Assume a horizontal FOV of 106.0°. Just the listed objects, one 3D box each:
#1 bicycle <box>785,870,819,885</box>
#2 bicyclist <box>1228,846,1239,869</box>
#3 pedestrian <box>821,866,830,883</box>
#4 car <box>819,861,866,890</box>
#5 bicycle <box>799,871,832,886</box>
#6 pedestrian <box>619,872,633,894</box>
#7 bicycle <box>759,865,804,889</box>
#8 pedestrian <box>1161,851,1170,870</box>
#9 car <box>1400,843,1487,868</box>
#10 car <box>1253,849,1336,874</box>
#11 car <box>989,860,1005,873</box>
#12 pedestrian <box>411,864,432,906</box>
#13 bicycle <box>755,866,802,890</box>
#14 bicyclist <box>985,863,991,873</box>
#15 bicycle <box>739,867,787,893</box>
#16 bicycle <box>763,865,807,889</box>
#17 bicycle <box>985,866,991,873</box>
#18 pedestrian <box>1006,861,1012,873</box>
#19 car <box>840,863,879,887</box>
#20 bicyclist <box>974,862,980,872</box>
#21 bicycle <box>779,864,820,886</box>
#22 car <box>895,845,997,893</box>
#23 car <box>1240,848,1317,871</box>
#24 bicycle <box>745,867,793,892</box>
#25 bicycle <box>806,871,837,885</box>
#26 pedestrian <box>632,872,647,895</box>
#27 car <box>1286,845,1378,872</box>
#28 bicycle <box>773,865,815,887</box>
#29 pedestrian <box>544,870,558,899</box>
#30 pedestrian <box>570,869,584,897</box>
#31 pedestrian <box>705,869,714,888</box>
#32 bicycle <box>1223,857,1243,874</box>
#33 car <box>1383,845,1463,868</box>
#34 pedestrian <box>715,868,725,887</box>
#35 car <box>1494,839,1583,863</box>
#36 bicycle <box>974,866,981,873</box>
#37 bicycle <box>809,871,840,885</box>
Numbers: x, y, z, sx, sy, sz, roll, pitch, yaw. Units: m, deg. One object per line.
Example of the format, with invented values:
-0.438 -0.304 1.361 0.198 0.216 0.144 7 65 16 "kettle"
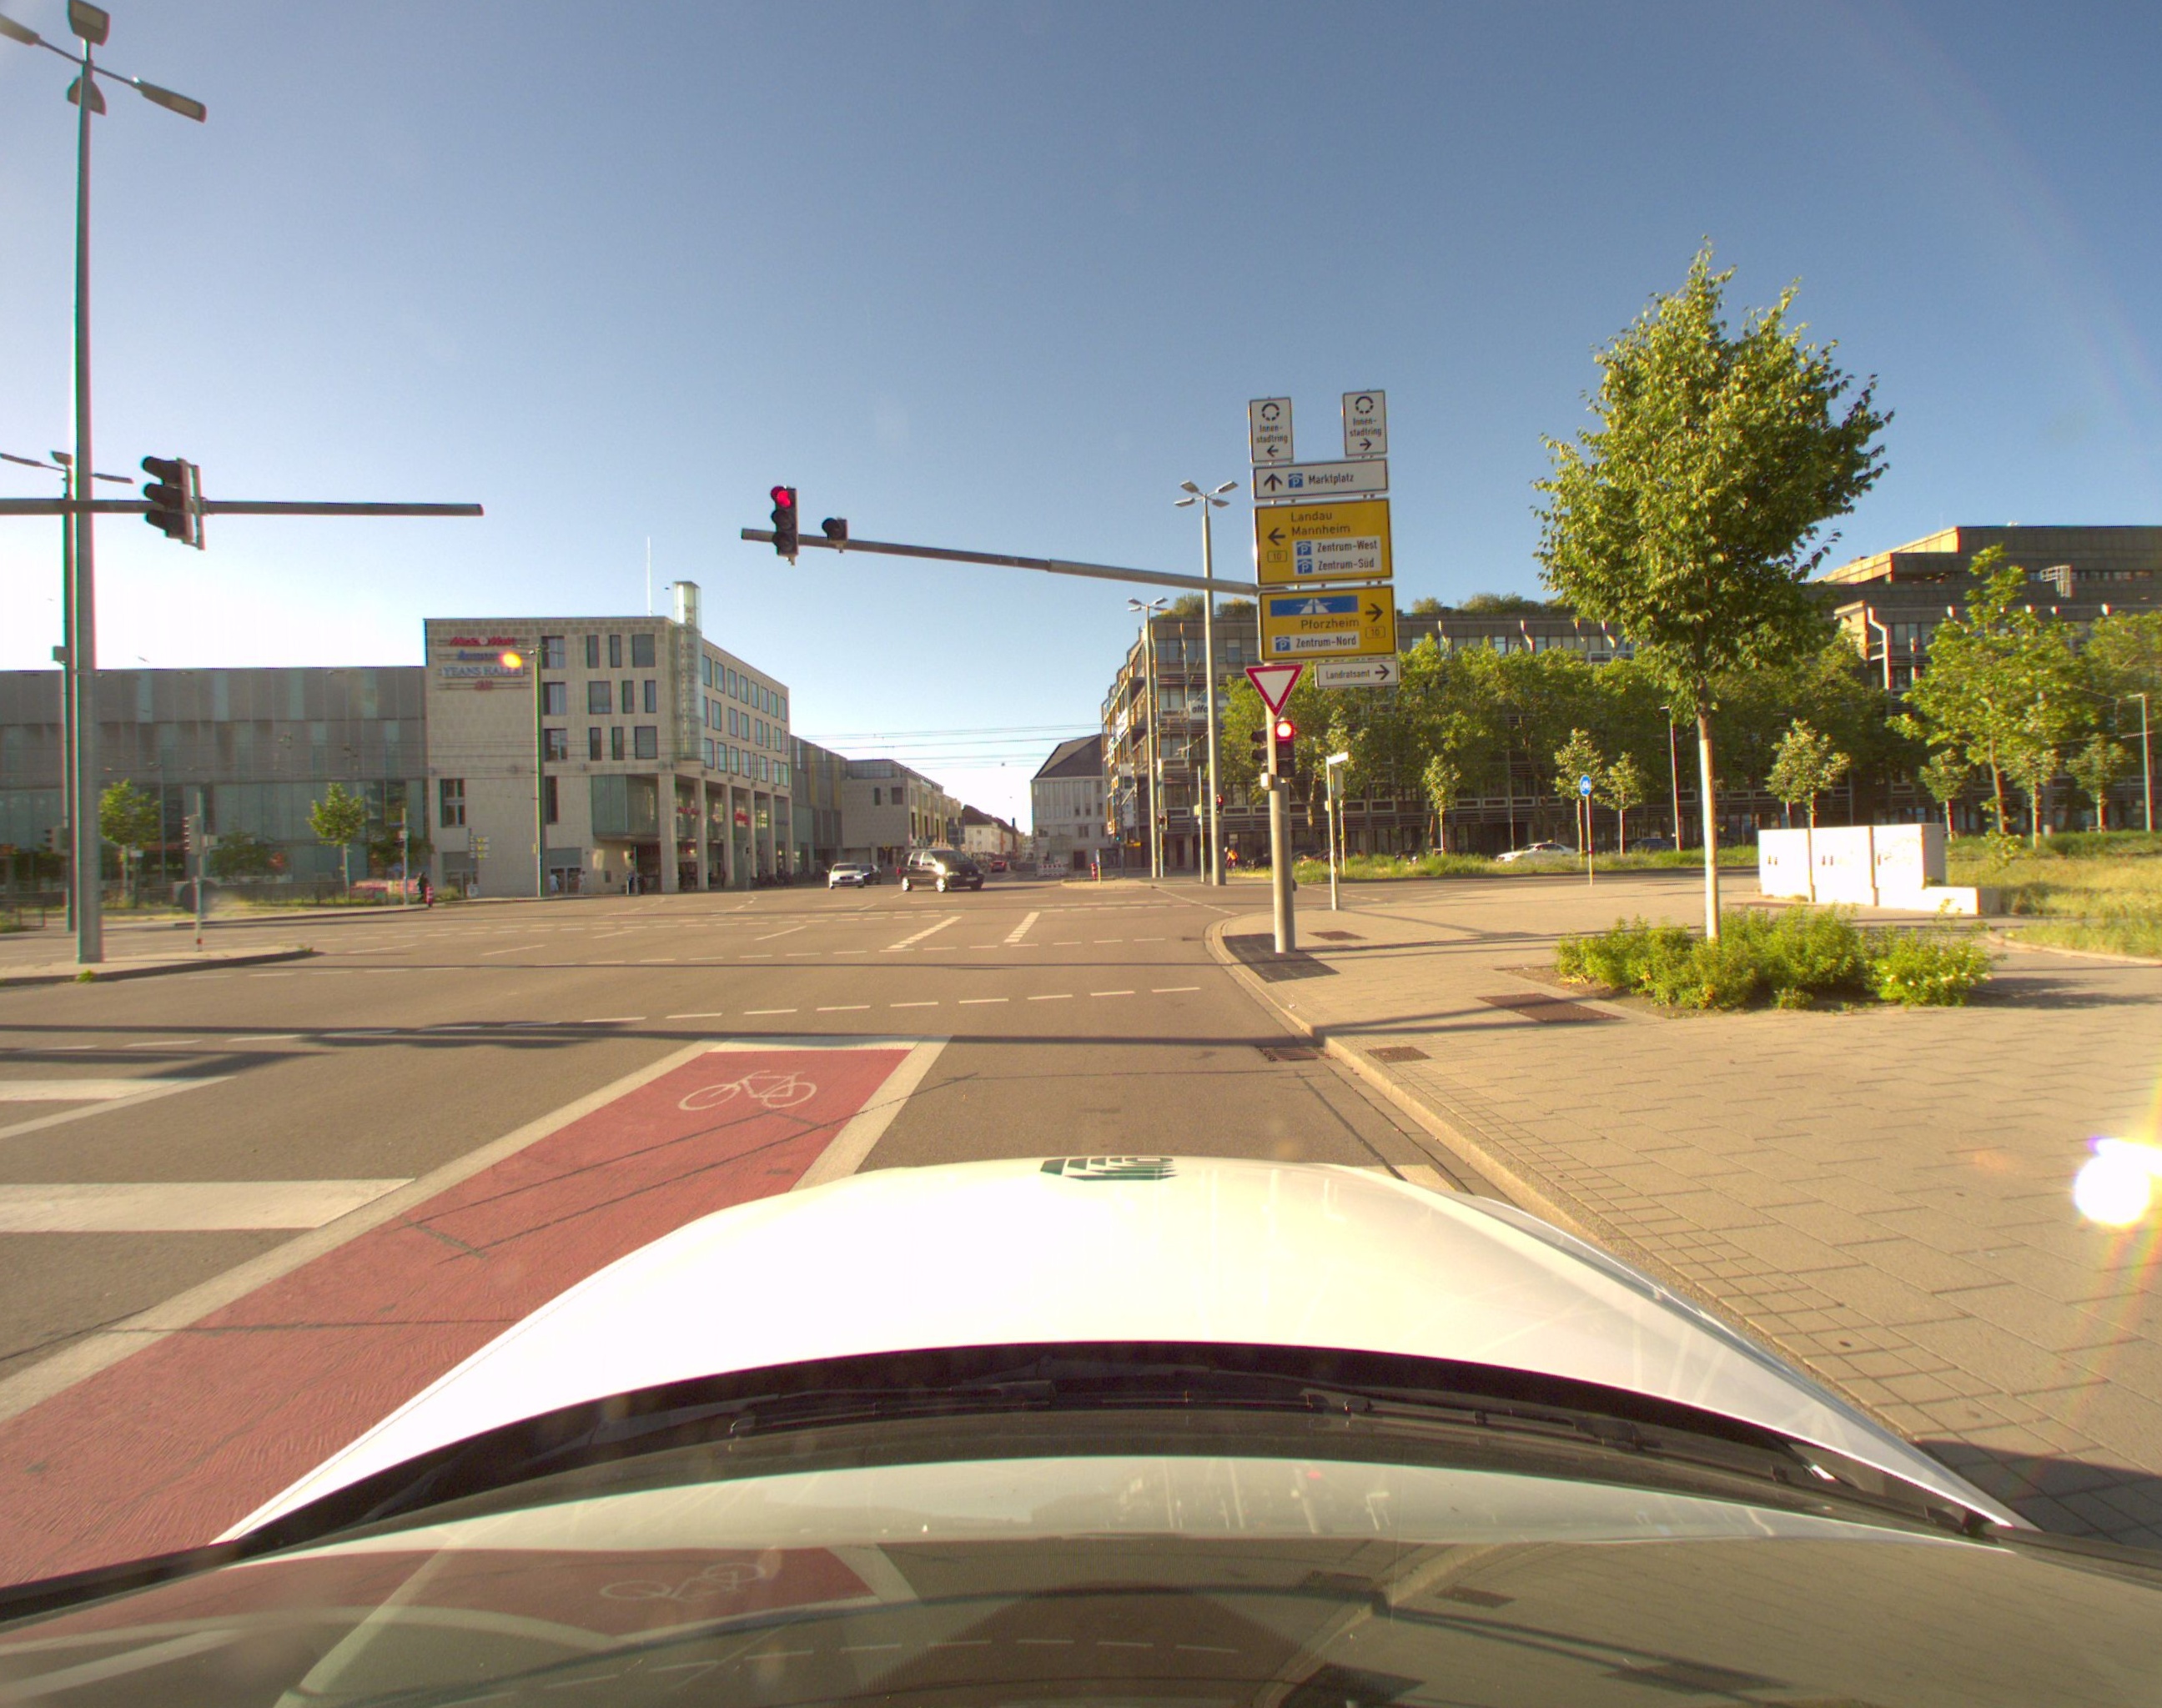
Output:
-27.940 2.358 81.500 3.044 1.400 0.901 -2 0 -4 "bicycle"
8.892 0.220 47.433 0.506 1.338 0.453 -2 0 3 "bicyclist"
-25.562 2.048 81.370 0.746 1.608 0.619 -2 0 -27 "pedestrian"
-13.417 1.175 45.578 2.002 1.356 4.611 -2 1 -23 "car"
-28.011 2.543 85.925 3.044 1.400 0.901 -2 0 -4 "bicycle"
-32.991 2.106 59.061 0.621 1.608 0.653 -2 0 0 "pedestrian"
-27.728 2.128 75.442 3.613 2.013 1.085 -2 0 -4 "bicycle"
6.934 0.528 66.801 0.619 1.519 0.655 -2 0 9 "pedestrian"
22.954 0.085 51.696 4.620 1.356 1.998 -2 1 -3 "car"
13.391 0.469 51.255 4.620 1.356 1.998 -2 1 -3 "car"
-11.182 1.680 108.976 1.991 1.552 3.992 -2 0 -5 "car"
-32.341 1.503 39.960 0.515 2.013 0.622 -2 0 -12 "pedestrian"
-26.900 2.137 72.492 3.613 2.013 1.085 -2 0 -4 "bicycle"
-13.572 2.003 118.471 0.744 1.461 0.766 -2 0 -2 "bicyclist"
-27.185 2.193 69.695 3.617 2.013 1.084 -2 0 -7 "bicycle"
-27.834 2.147 76.591 3.613 2.013 1.085 -2 0 -4 "bicycle"
-13.517 2.231 118.264 0.739 1.046 2.429 -2 0 -2 "bicycle"
-9.651 1.743 109.278 0.712 1.668 0.987 -2 0 0 "pedestrian"
-15.571 1.429 57.442 1.991 1.530 4.027 -2 0 -6 "car"
-15.034 1.844 117.877 0.744 1.461 0.766 -2 0 -2 "bicyclist"
-27.812 2.040 80.524 3.613 2.013 0.901 -2 0 -4 "bicycle"
-5.563 0.568 33.050 2.010 1.742 4.592 -3 2 -39 "car"
13.071 0.356 54.074 4.620 1.356 1.998 -2 1 -3 "car"
-27.210 2.186 71.034 3.613 2.013 1.085 -2 0 -4 "bicycle"
-27.975 2.593 87.812 3.044 1.400 0.901 -2 0 -4 "bicycle"
-31.982 2.112 59.010 0.621 1.608 0.653 -2 0 0 "pedestrian"
14.282 0.247 46.427 4.620 1.356 1.998 -2 1 -3 "car"
-27.699 2.118 78.681 3.613 2.013 0.901 -2 0 -4 "bicycle"
-38.439 2.216 59.071 0.622 2.013 0.515 -2 0 -8 "pedestrian"
-37.496 2.135 60.579 0.622 2.013 0.515 -2 0 -8 "pedestrian"
-32.473 2.155 71.196 0.627 1.608 0.646 -2 0 -35 "pedestrian"
8.854 0.658 47.428 1.072 0.971 0.458 -2 0 2 "bicycle"
23.205 0.181 55.298 4.620 1.356 1.998 -2 1 -3 "car"
-31.859 2.072 71.860 0.627 1.608 0.646 -2 0 -35 "pedestrian"
29.103 -0.194 51.900 4.620 1.356 1.998 -2 1 -3 "car"
-15.015 2.258 117.920 0.739 1.046 2.429 -2 0 -2 "bicycle"
-28.124 2.649 89.226 3.044 1.400 0.901 -2 0 -4 "bicycle"
